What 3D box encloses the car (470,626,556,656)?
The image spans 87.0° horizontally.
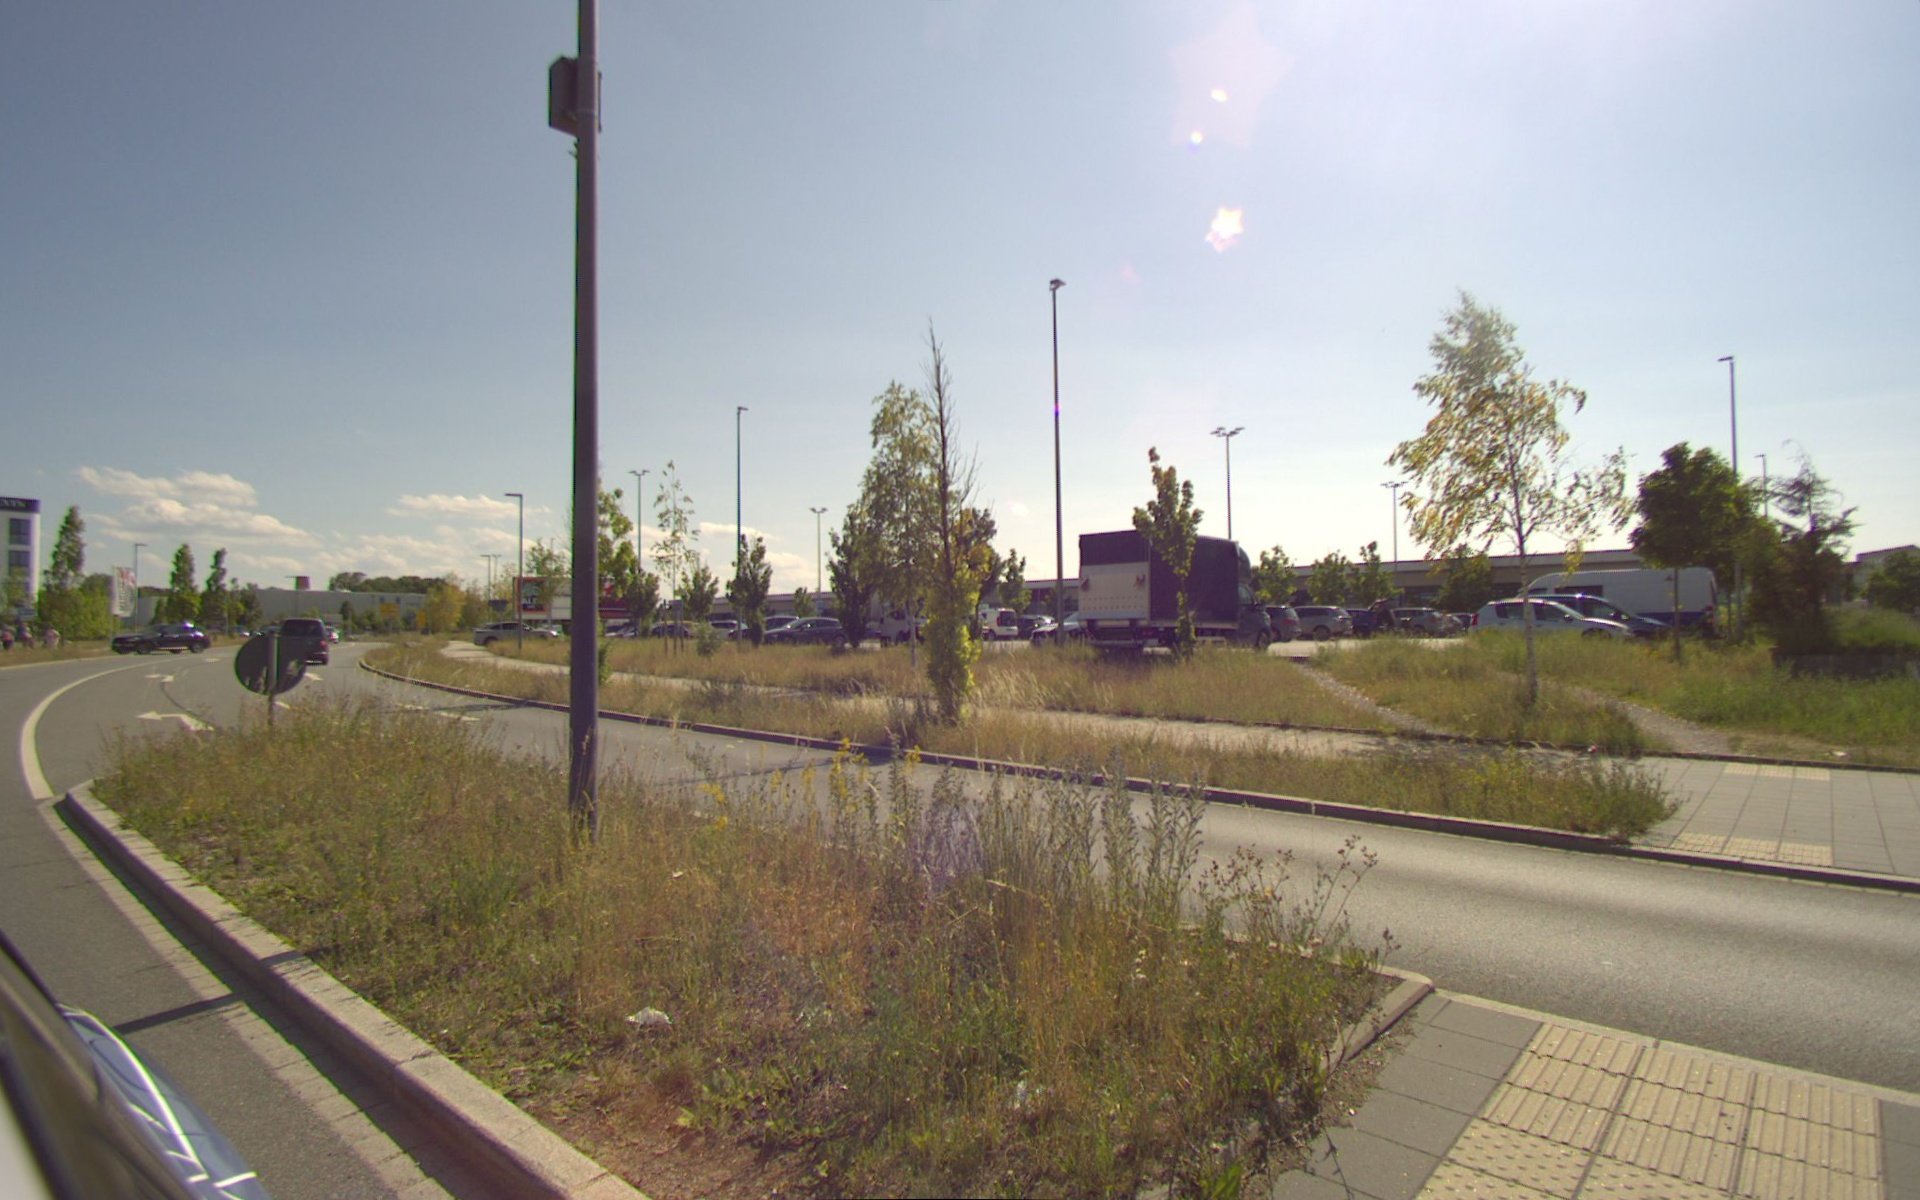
[{"bbox_3d":[-27.127,2.516,61.485,4.694,1.656,2.122,-1,-3,-24],"label":"car"}]

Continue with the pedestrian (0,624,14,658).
[{"bbox_3d":[-47.078,2.023,49.630,0.797,1.641,0.869,0,-2,-27],"label":"pedestrian"}]

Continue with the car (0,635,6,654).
[{"bbox_3d":[-72.097,3.274,74.906,1.492,1.418,4.010,1,-3,-33],"label":"car"}]

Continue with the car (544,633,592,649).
[{"bbox_3d":[-42.890,4.445,110.662,4.528,1.685,2.005,1,-3,-36],"label":"car"}]

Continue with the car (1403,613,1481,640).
[{"bbox_3d":[31.469,1.730,66.134,4.219,1.698,1.784,-2,-2,42],"label":"car"}]

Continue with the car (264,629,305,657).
[{"bbox_3d":[-43.134,2.760,64.674,1.727,1.700,4.394,1,-3,-29],"label":"car"}]

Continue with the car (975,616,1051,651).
[{"bbox_3d":[3.147,2.024,60.650,4.382,2.013,1.812,-2,-2,43],"label":"car"}]

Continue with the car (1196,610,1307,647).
[{"bbox_3d":[12.883,1.286,44.902,4.379,1.574,1.813,-2,-2,40],"label":"car"}]

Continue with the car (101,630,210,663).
[{"bbox_3d":[-44.395,2.575,55.973,1.885,1.692,4.442,-3,-3,16],"label":"car"}]

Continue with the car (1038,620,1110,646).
[{"bbox_3d":[7.227,2.114,64.517,4.382,1.594,1.812,-2,-2,43],"label":"car"}]

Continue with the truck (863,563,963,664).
[{"bbox_3d":[-1.982,0.584,38.787,2.285,3.491,7.514,0,-2,-15],"label":"truck"}]

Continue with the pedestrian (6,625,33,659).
[{"bbox_3d":[-46.135,2.055,49.646,0.789,1.642,0.807,0,-2,-27],"label":"pedestrian"}]

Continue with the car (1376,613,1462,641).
[{"bbox_3d":[27.380,1.604,60.455,4.379,1.604,1.813,-2,-2,40],"label":"car"}]

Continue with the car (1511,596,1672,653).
[{"bbox_3d":[19.788,0.794,31.803,4.080,1.683,1.644,-2,-2,40],"label":"car"}]

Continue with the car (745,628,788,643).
[{"bbox_3d":[-18.076,3.331,94.395,4.353,1.428,1.693,-2,-3,42],"label":"car"}]

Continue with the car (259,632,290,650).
[{"bbox_3d":[-59.701,3.581,88.180,1.756,1.505,4.013,0,-2,-27],"label":"car"}]

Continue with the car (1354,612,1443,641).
[{"bbox_3d":[25.325,1.556,58.550,4.379,1.625,1.813,-2,-2,40],"label":"car"}]

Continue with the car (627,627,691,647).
[{"bbox_3d":[-29.359,3.606,98.752,5.606,1.980,2.005,1,-3,-36],"label":"car"}]

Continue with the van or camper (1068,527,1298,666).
[{"bbox_3d":[6.559,-0.003,28.974,7.600,3.495,2.558,1,-2,-43],"label":"van or camper"}]

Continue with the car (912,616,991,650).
[{"bbox_3d":[-0.510,1.859,56.845,4.382,1.837,1.812,-2,-2,43],"label":"car"}]

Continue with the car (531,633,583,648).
[{"bbox_3d":[-45.815,4.594,115.022,5.116,1.685,2.003,2,-3,-41],"label":"car"}]

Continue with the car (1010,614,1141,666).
[{"bbox_3d":[3.753,1.262,32.419,4.316,1.564,1.839,1,-2,-44],"label":"car"}]

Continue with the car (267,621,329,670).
[{"bbox_3d":[-26.354,1.821,40.321,1.924,1.808,4.438,3,-4,-33],"label":"car"}]

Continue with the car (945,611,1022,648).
[{"bbox_3d":[1.347,1.729,59.004,4.382,2.080,1.812,-2,-2,43],"label":"car"}]

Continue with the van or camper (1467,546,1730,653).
[{"bbox_3d":[21.516,0.087,34.415,7.233,3.296,2.404,-2,-2,42],"label":"van or camper"}]

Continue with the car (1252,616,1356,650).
[{"bbox_3d":[16.524,1.581,48.734,4.379,1.574,1.813,-2,-2,40],"label":"car"}]

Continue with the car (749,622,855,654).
[{"bbox_3d":[-7.203,1.727,46.187,4.363,1.394,1.981,1,-2,-33],"label":"car"}]

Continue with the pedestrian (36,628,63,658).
[{"bbox_3d":[-45.847,2.173,50.959,0.781,1.481,0.952,0,-2,-27],"label":"pedestrian"}]

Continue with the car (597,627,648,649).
[{"bbox_3d":[-30.504,3.432,91.415,4.086,1.875,1.938,1,-3,-30],"label":"car"}]

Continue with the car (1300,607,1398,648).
[{"bbox_3d":[20.186,1.435,52.633,4.379,2.009,1.813,-2,-2,40],"label":"car"}]

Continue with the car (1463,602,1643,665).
[{"bbox_3d":[16.364,0.933,28.044,4.080,1.627,1.644,-2,-2,40],"label":"car"}]

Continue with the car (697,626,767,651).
[{"bbox_3d":[-14.991,2.538,66.699,4.174,1.559,1.914,0,-2,6],"label":"car"}]

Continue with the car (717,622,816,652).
[{"bbox_3d":[-9.704,1.848,50.852,4.513,1.469,1.843,1,-2,-33],"label":"car"}]

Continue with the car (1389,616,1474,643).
[{"bbox_3d":[28.926,1.819,62.128,4.379,1.584,1.813,-2,-2,40],"label":"car"}]
